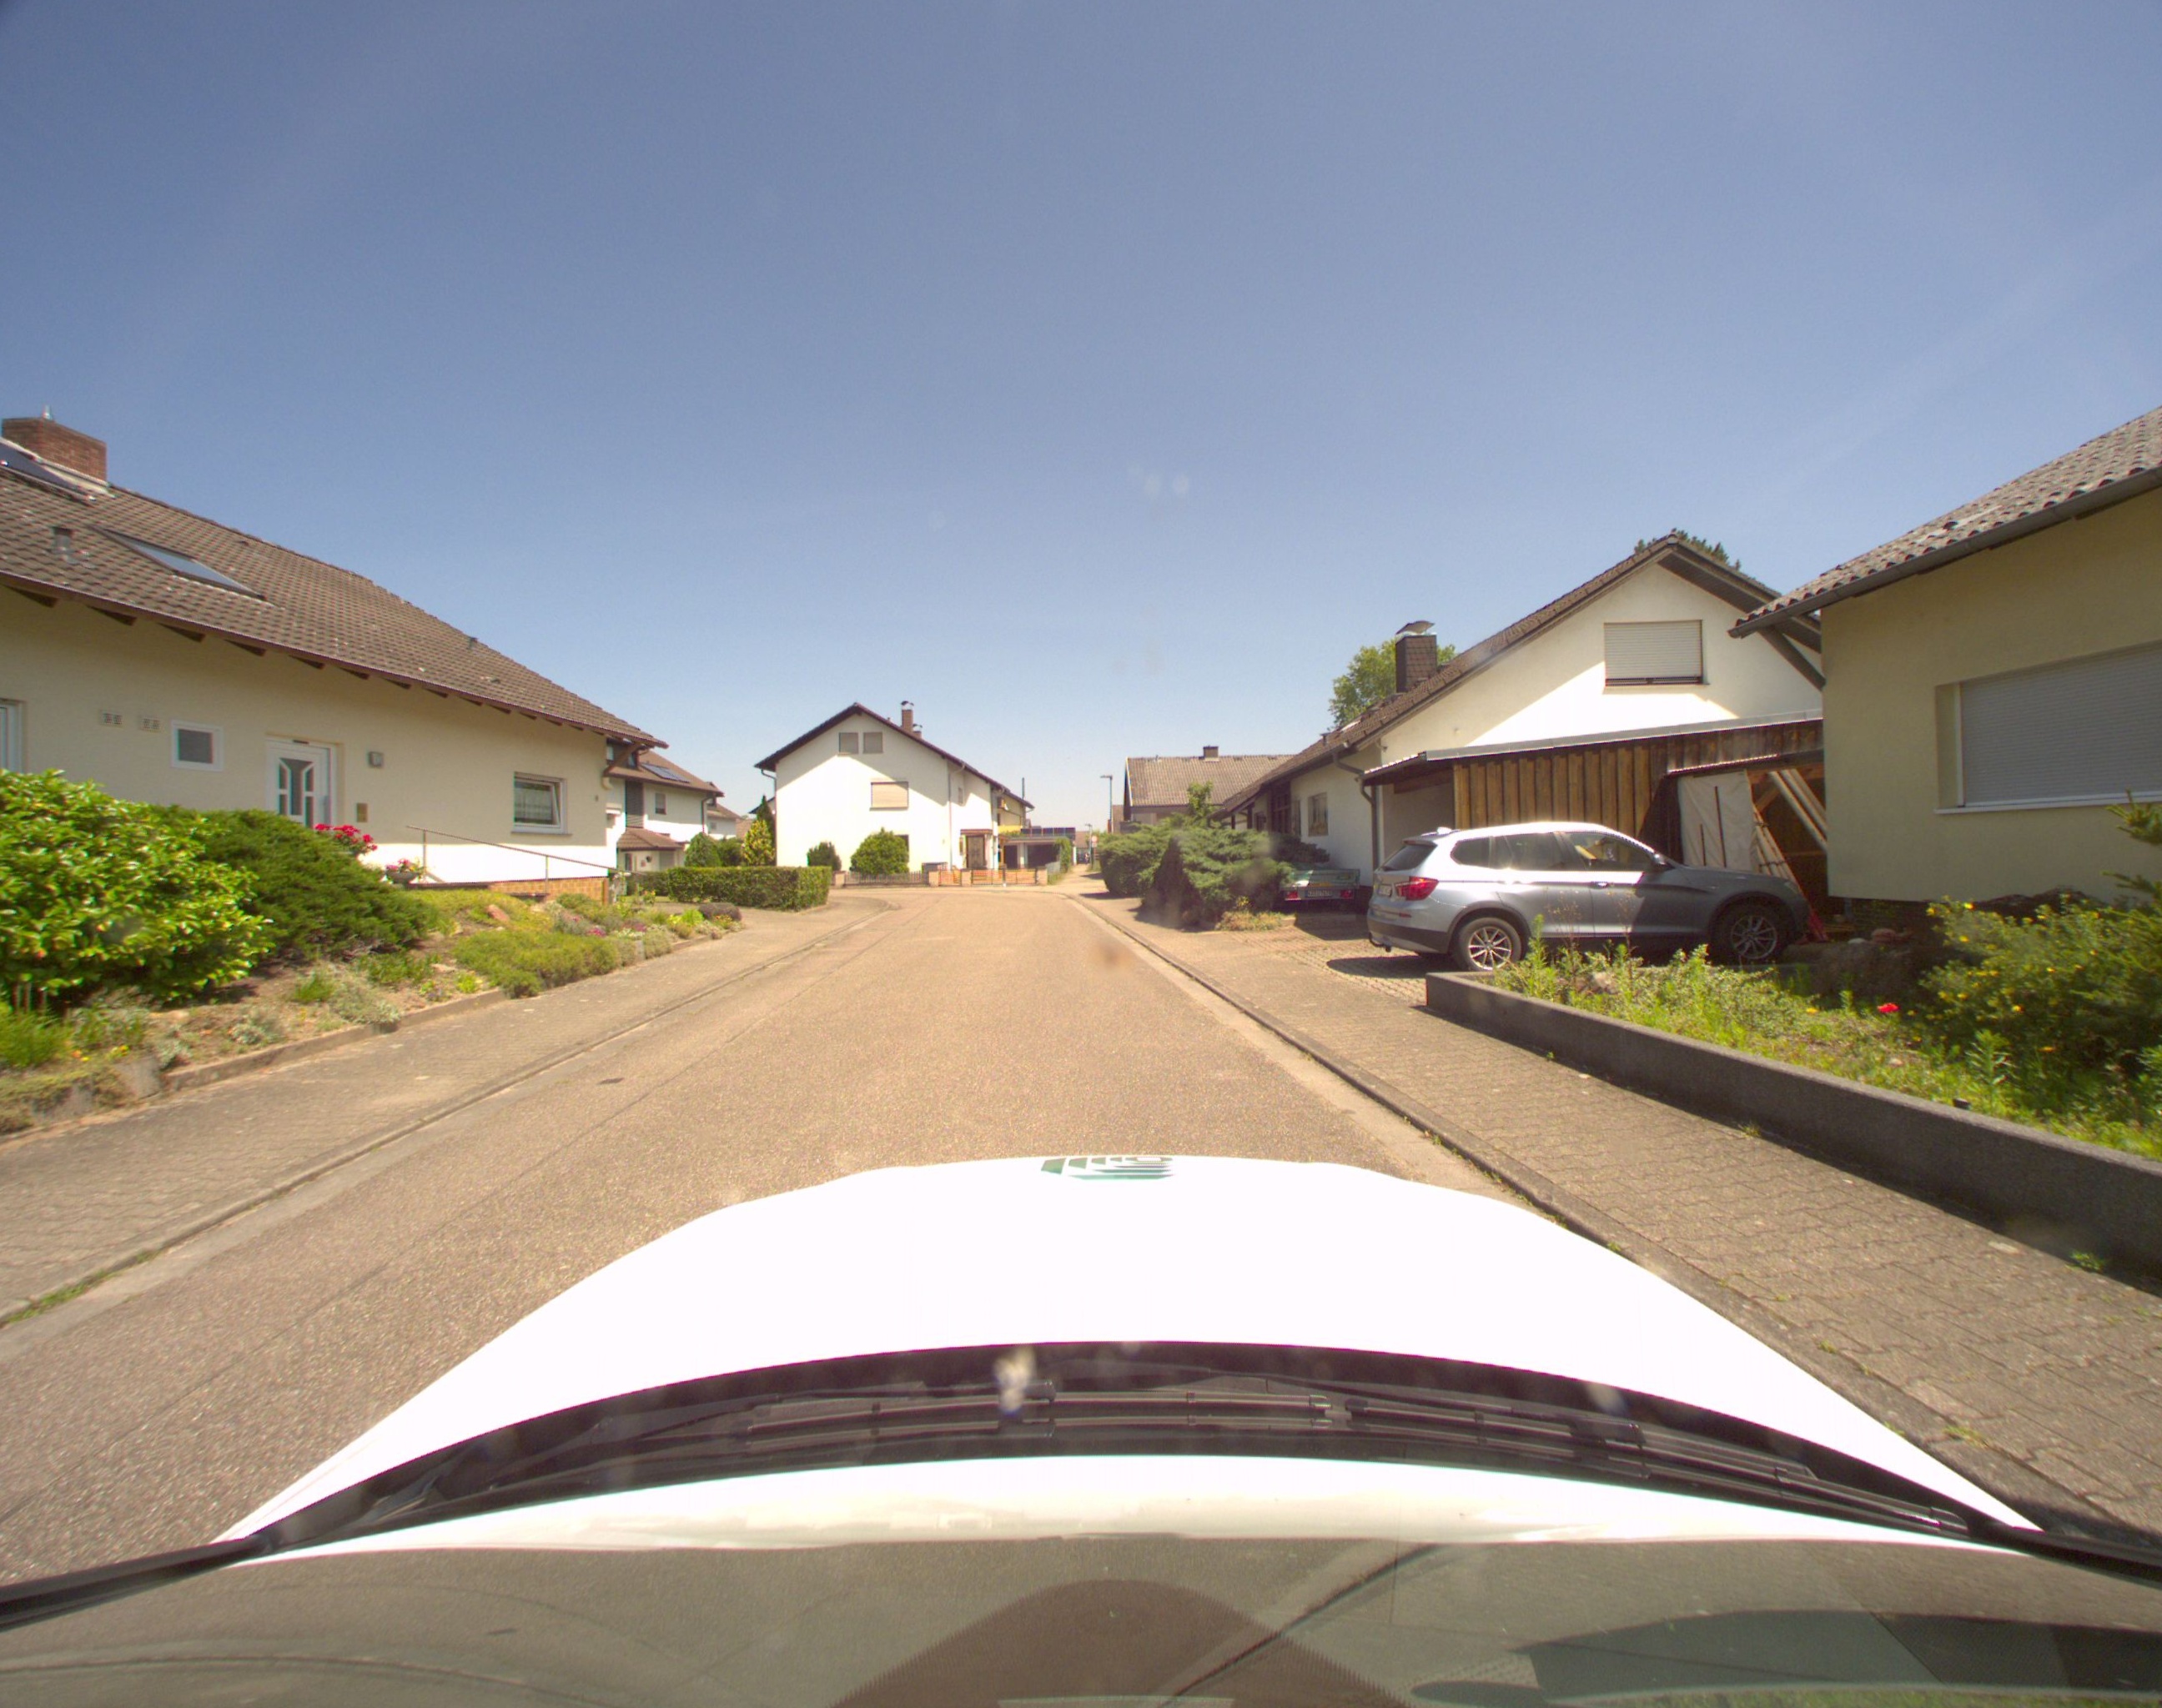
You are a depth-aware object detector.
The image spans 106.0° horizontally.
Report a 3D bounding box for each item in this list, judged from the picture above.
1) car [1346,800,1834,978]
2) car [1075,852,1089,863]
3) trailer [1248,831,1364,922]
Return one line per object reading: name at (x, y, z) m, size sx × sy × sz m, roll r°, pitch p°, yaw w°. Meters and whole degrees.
car at (5.749, 0.390, 9.678) m, size 4.607 × 1.702 × 1.711 m, roll -3°, pitch 0°, yaw 4°
car at (0.252, 0.626, 135.458) m, size 2.185 × 1.701 × 3.809 m, roll -2°, pitch 0°, yaw 2°
trailer at (4.664, 0.410, 17.299) m, size 1.581 × 1.672 × 3.298 m, roll -3°, pitch 0°, yaw 2°
